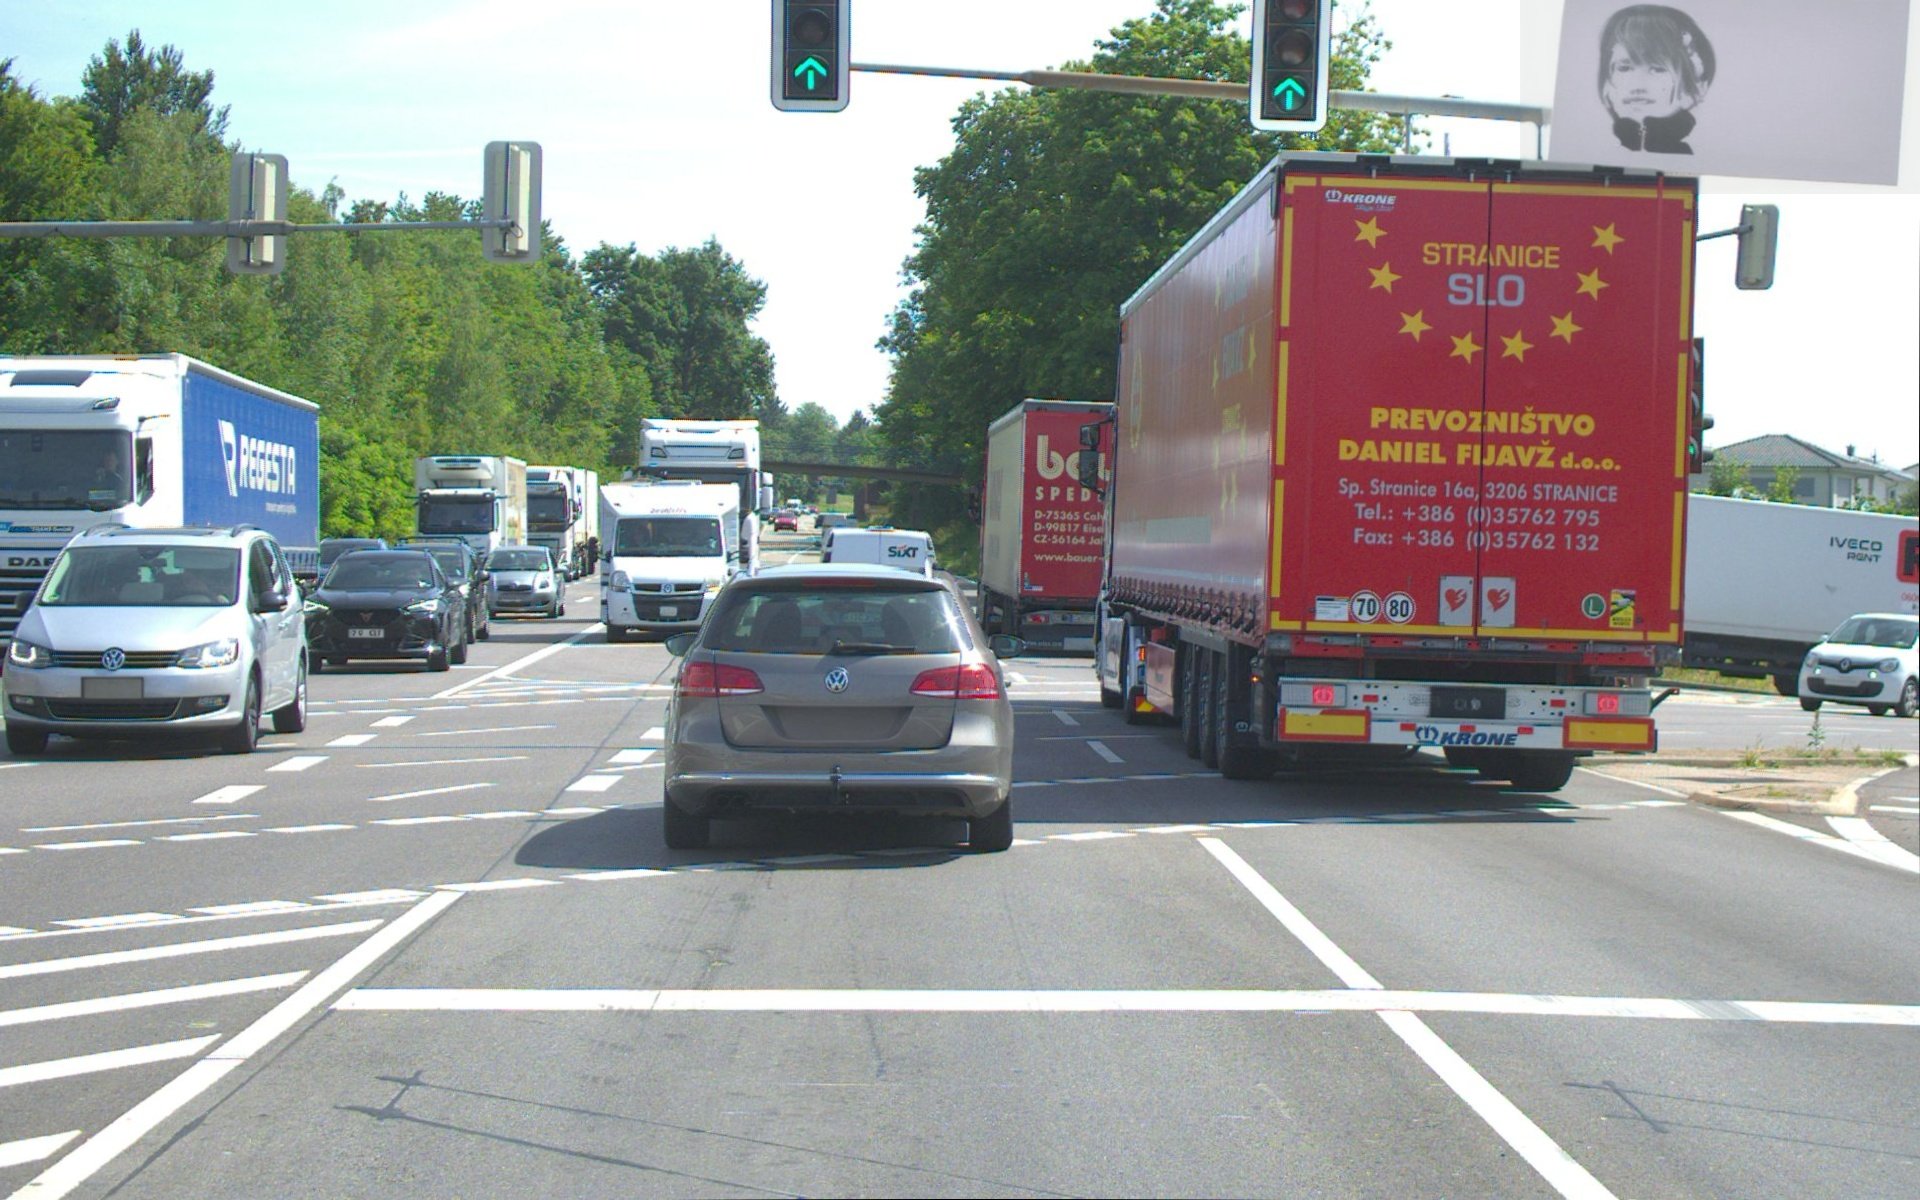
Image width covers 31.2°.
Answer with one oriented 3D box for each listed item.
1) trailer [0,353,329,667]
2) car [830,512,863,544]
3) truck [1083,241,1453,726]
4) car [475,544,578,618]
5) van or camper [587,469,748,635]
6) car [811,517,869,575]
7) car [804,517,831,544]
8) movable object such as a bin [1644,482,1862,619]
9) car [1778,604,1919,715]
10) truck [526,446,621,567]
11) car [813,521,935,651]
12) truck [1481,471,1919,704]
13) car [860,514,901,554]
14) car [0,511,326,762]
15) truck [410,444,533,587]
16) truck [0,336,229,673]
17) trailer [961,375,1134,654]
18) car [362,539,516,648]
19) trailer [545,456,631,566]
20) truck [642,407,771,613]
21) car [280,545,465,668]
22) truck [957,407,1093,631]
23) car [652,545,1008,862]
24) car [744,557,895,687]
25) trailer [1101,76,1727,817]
[{"bbox_3d":[-11.996,-1.282,51.812,3.093,4.066,14.129,0,1,-3],"label":"trailer"},{"bbox_3d":[-7.173,-4.572,217.698,1.993,2.007,4.001,0,1,-3],"label":"car"},{"bbox_3d":[2.886,-1.091,33.980,2.870,4.266,5.839,2,1,-1],"label":"truck"},{"bbox_3d":[-9.015,-0.422,71.750,1.725,1.497,4.000,0,1,-1],"label":"car"},{"bbox_3d":[-4.825,-0.810,57.672,2.330,2.591,6.979,0,1,-2],"label":"van or camper"},{"bbox_3d":[-4.300,-1.924,122.681,1.993,2.007,4.001,0,1,-3],"label":"car"},{"bbox_3d":[-10.806,-5.257,260.609,1.993,2.007,4.001,0,1,-3],"label":"car"},{"bbox_3d":[19.364,-1.200,83.684,2.897,3.197,6.691,1,1,35],"label":"movable object such as a bin"},{"bbox_3d":[13.887,0.921,51.490,1.709,1.499,3.747,3,0,38],"label":"car"},{"bbox_3d":[-13.658,-3.272,122.115,2.829,4.102,9.684,0,1,-3],"label":"truck"},{"bbox_3d":[-1.367,-0.236,53.249,1.770,1.930,3.978,0,1,-3],"label":"car"},{"bbox_3d":[15.068,-0.148,65.601,9.667,3.616,2.768,5,-1,-19],"label":"truck"},{"bbox_3d":[-4.038,-3.346,173.969,1.993,2.007,4.001,0,1,-3],"label":"car"},{"bbox_3d":[-6.210,0.205,26.865,1.843,1.726,4.589,2,1,-3],"label":"car"},{"bbox_3d":[-14.225,-2.428,100.710,2.728,3.985,9.621,0,1,-3],"label":"truck"},{"bbox_3d":[-11.643,-1.205,44.775,3.187,4.066,6.347,0,1,-3],"label":"truck"},{"bbox_3d":[1.325,-1.398,58.771,2.395,4.229,13.079,0,1,-1],"label":"trailer"},{"bbox_3d":[-8.550,-0.130,56.714,1.993,1.720,4.000,0,1,-1],"label":"car"},{"bbox_3d":[-14.166,-3.349,131.334,2.840,4.055,8.757,0,1,-3],"label":"trailer"},{"bbox_3d":[-5.229,-1.829,71.203,2.536,4.074,6.267,0,1,-4],"label":"truck"},{"bbox_3d":[-7.398,0.047,43.655,1.993,1.480,4.455,0,1,-5],"label":"car"},{"bbox_3d":[1.194,-1.536,66.070,2.406,4.113,5.521,0,1,-1],"label":"truck"},{"bbox_3d":[-0.730,0.464,18.407,1.691,1.508,4.001,0,1,-3],"label":"car"},{"bbox_3d":[-1.773,0.237,42.598,1.770,1.508,4.001,0,1,-3],"label":"car"},{"bbox_3d":[3.003,-1.022,27.292,2.839,4.350,13.168,2,1,-1],"label":"trailer"}]
